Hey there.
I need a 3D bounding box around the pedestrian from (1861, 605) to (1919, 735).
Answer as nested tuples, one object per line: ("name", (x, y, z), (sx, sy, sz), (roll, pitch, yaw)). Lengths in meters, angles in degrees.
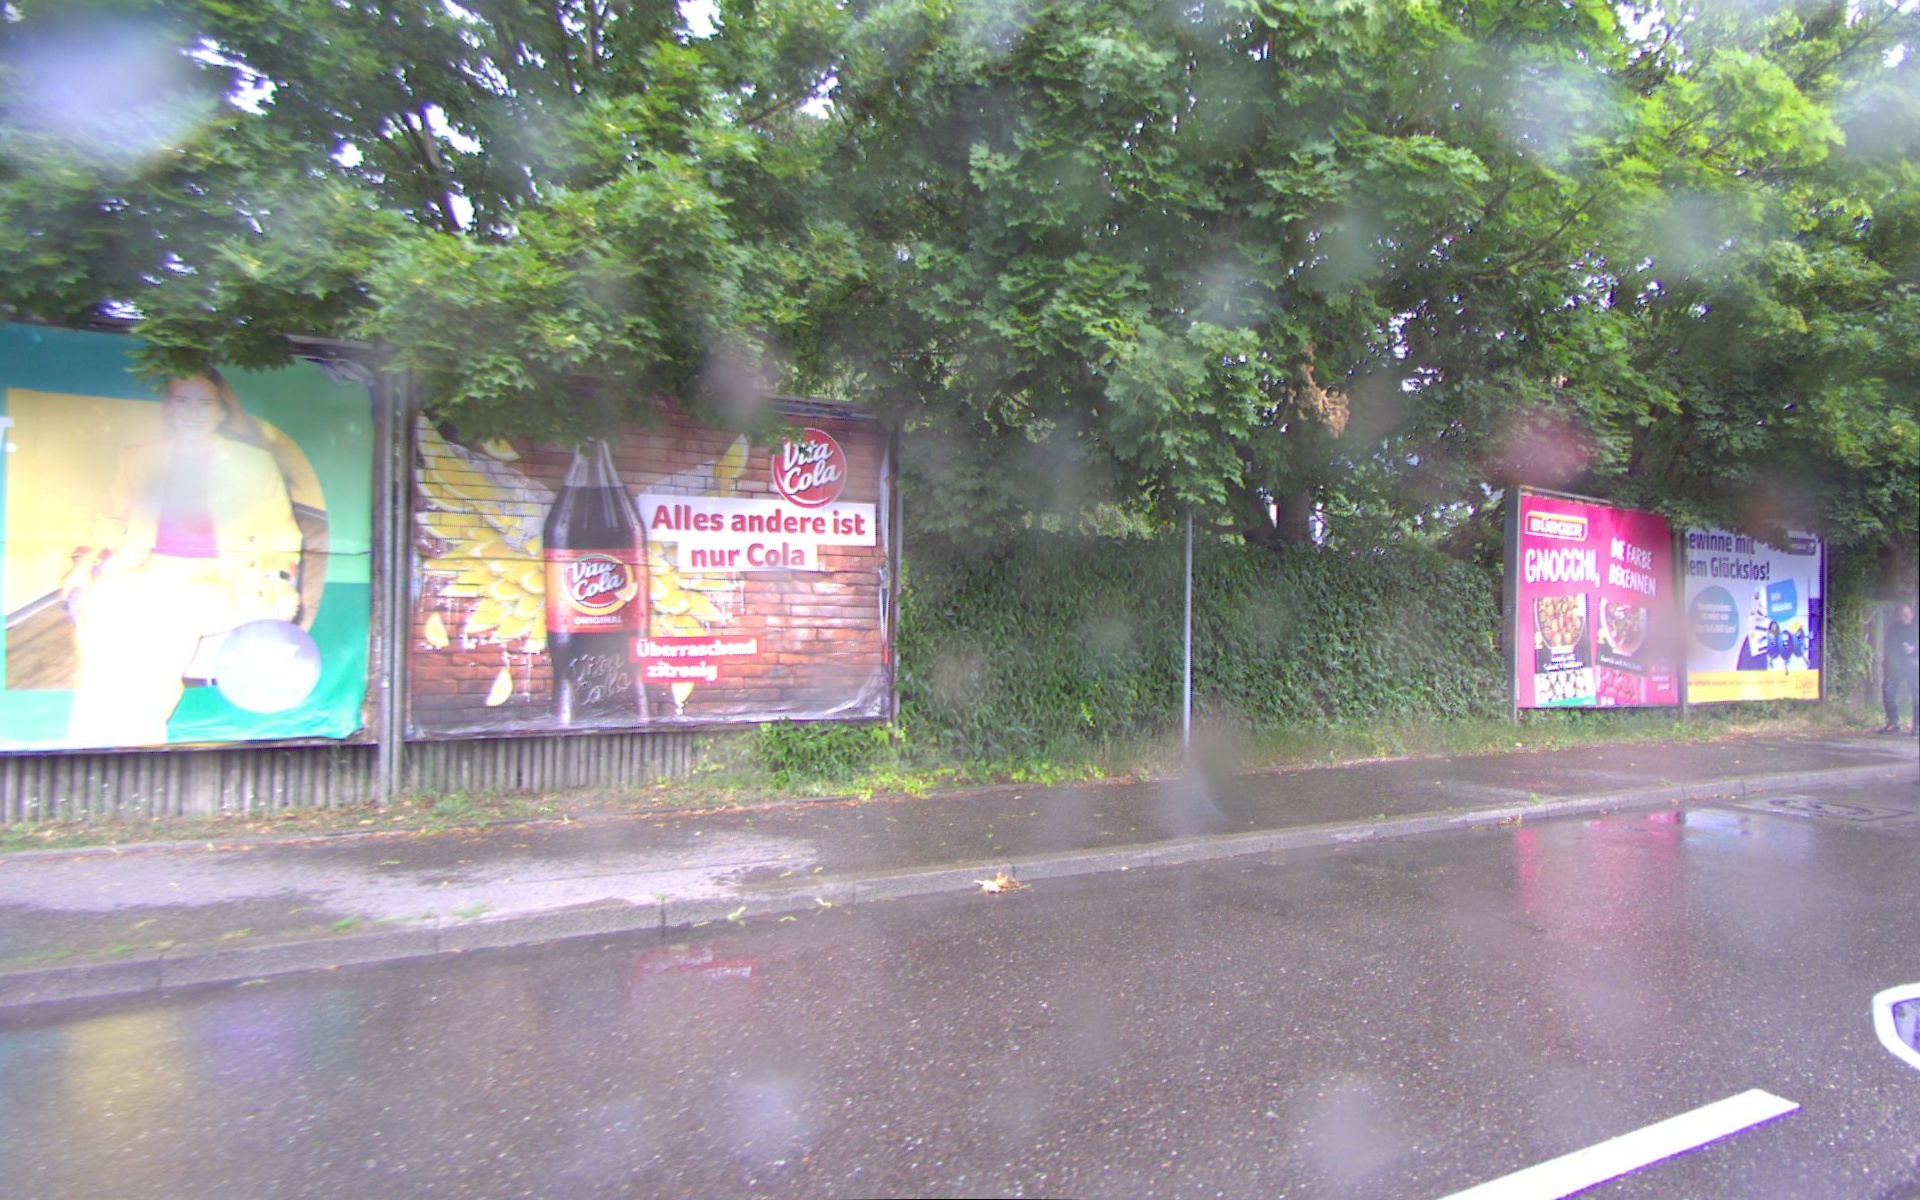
("pedestrian", (13.411, 0.981, 14.207), (0.636, 1.793, 0.836), (2, -1, -27))
